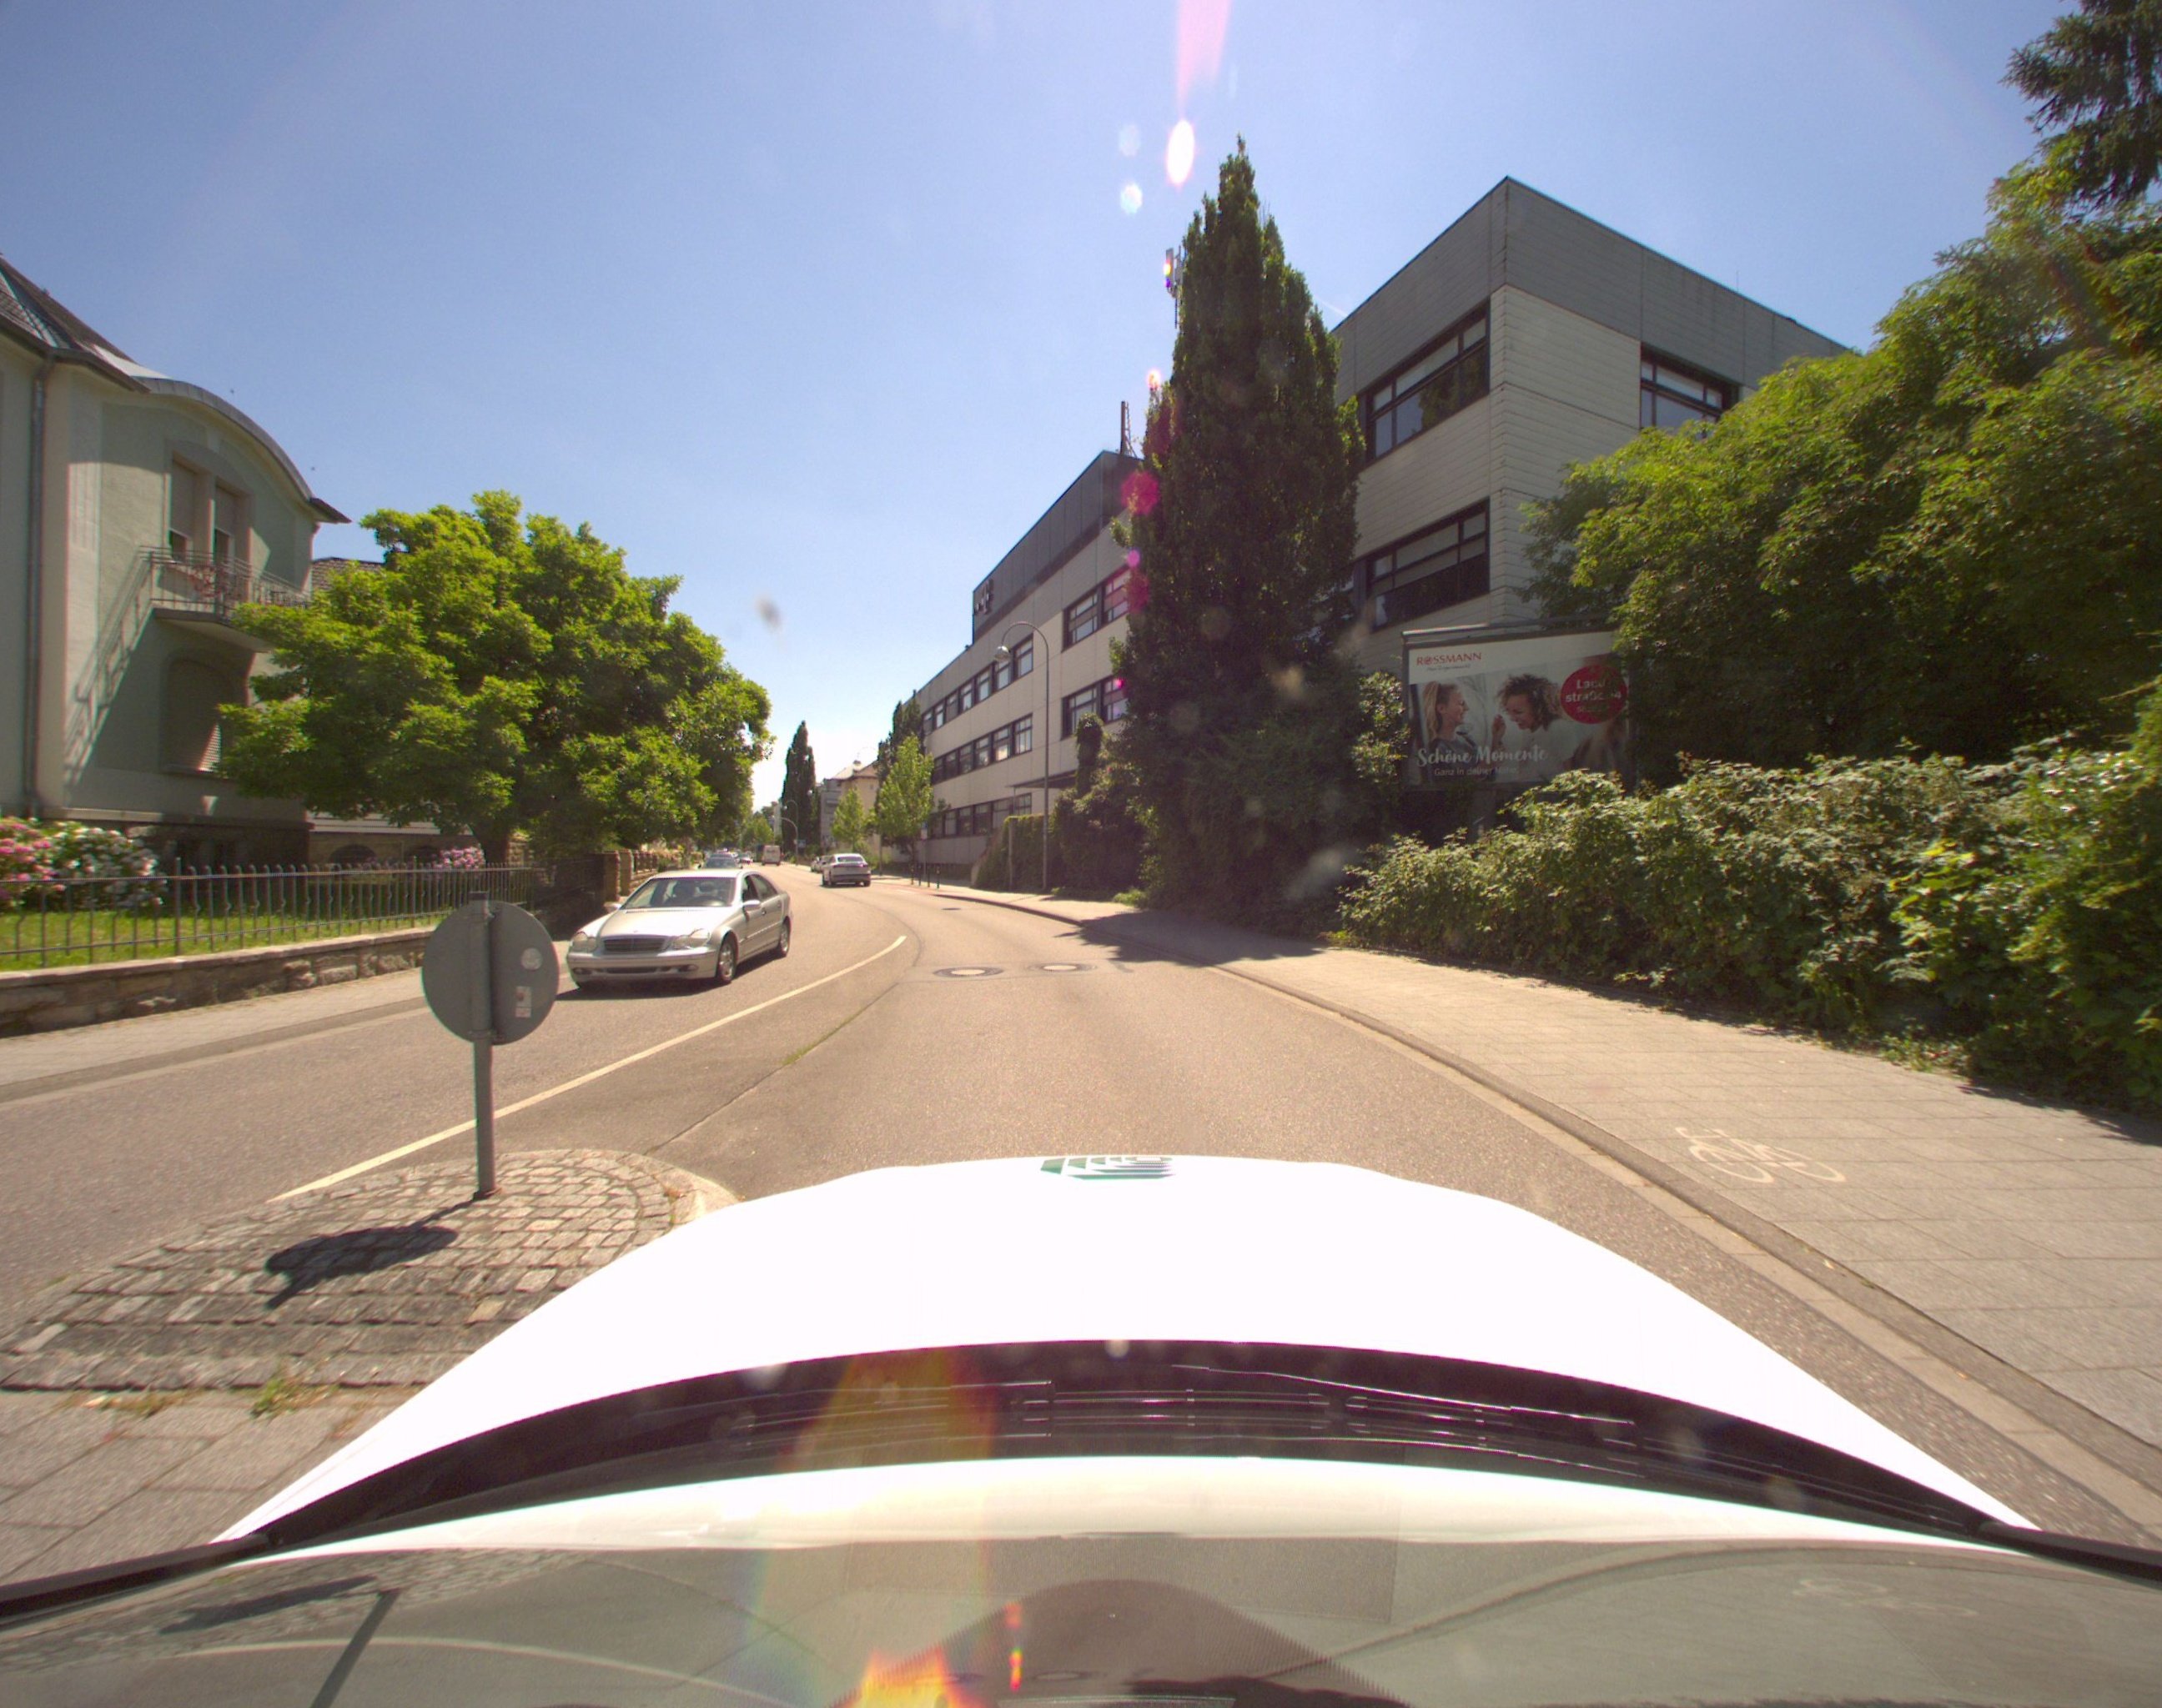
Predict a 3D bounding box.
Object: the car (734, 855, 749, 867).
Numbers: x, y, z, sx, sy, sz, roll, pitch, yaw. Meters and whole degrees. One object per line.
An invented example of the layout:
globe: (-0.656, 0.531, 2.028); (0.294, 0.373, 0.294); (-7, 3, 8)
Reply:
car: (-47.594, 0.991, 114.193); (1.982, 1.670, 4.438); (0, 0, -23)

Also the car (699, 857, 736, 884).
car: (-22.518, 0.995, 50.534); (1.934, 1.573, 4.622); (3, -1, -24)

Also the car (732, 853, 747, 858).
car: (-98.944, 0.446, 235.998); (3.997, 1.651, 1.988); (0, 0, -17)

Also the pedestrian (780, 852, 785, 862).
pedestrian: (-51.542, 0.476, 140.421); (0.698, 1.736, 0.662); (0, 0, -29)

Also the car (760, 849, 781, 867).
car: (-40.225, 0.456, 105.295); (2.080, 2.196, 5.095); (-2, 1, -25)

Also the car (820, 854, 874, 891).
car: (-11.914, 0.889, 41.299); (1.945, 1.614, 4.436); (-4, 2, -24)

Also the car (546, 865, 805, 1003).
car: (-5.305, 0.927, 11.354); (1.756, 1.435, 4.295); (-2, 0, -6)

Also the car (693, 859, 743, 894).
car: (-16.555, 0.987, 37.228); (1.934, 1.436, 4.622); (3, -1, -24)

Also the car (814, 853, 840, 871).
car: (-22.461, 0.720, 71.933); (1.667, 1.488, 4.310); (-2, 1, -25)

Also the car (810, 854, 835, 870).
car: (-24.252, 0.761, 76.301); (1.734, 1.383, 4.366); (-2, 1, -25)

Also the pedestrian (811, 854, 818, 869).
pedestrian: (-30.957, 0.823, 94.604); (0.641, 1.758, 0.611); (0, 0, -29)
